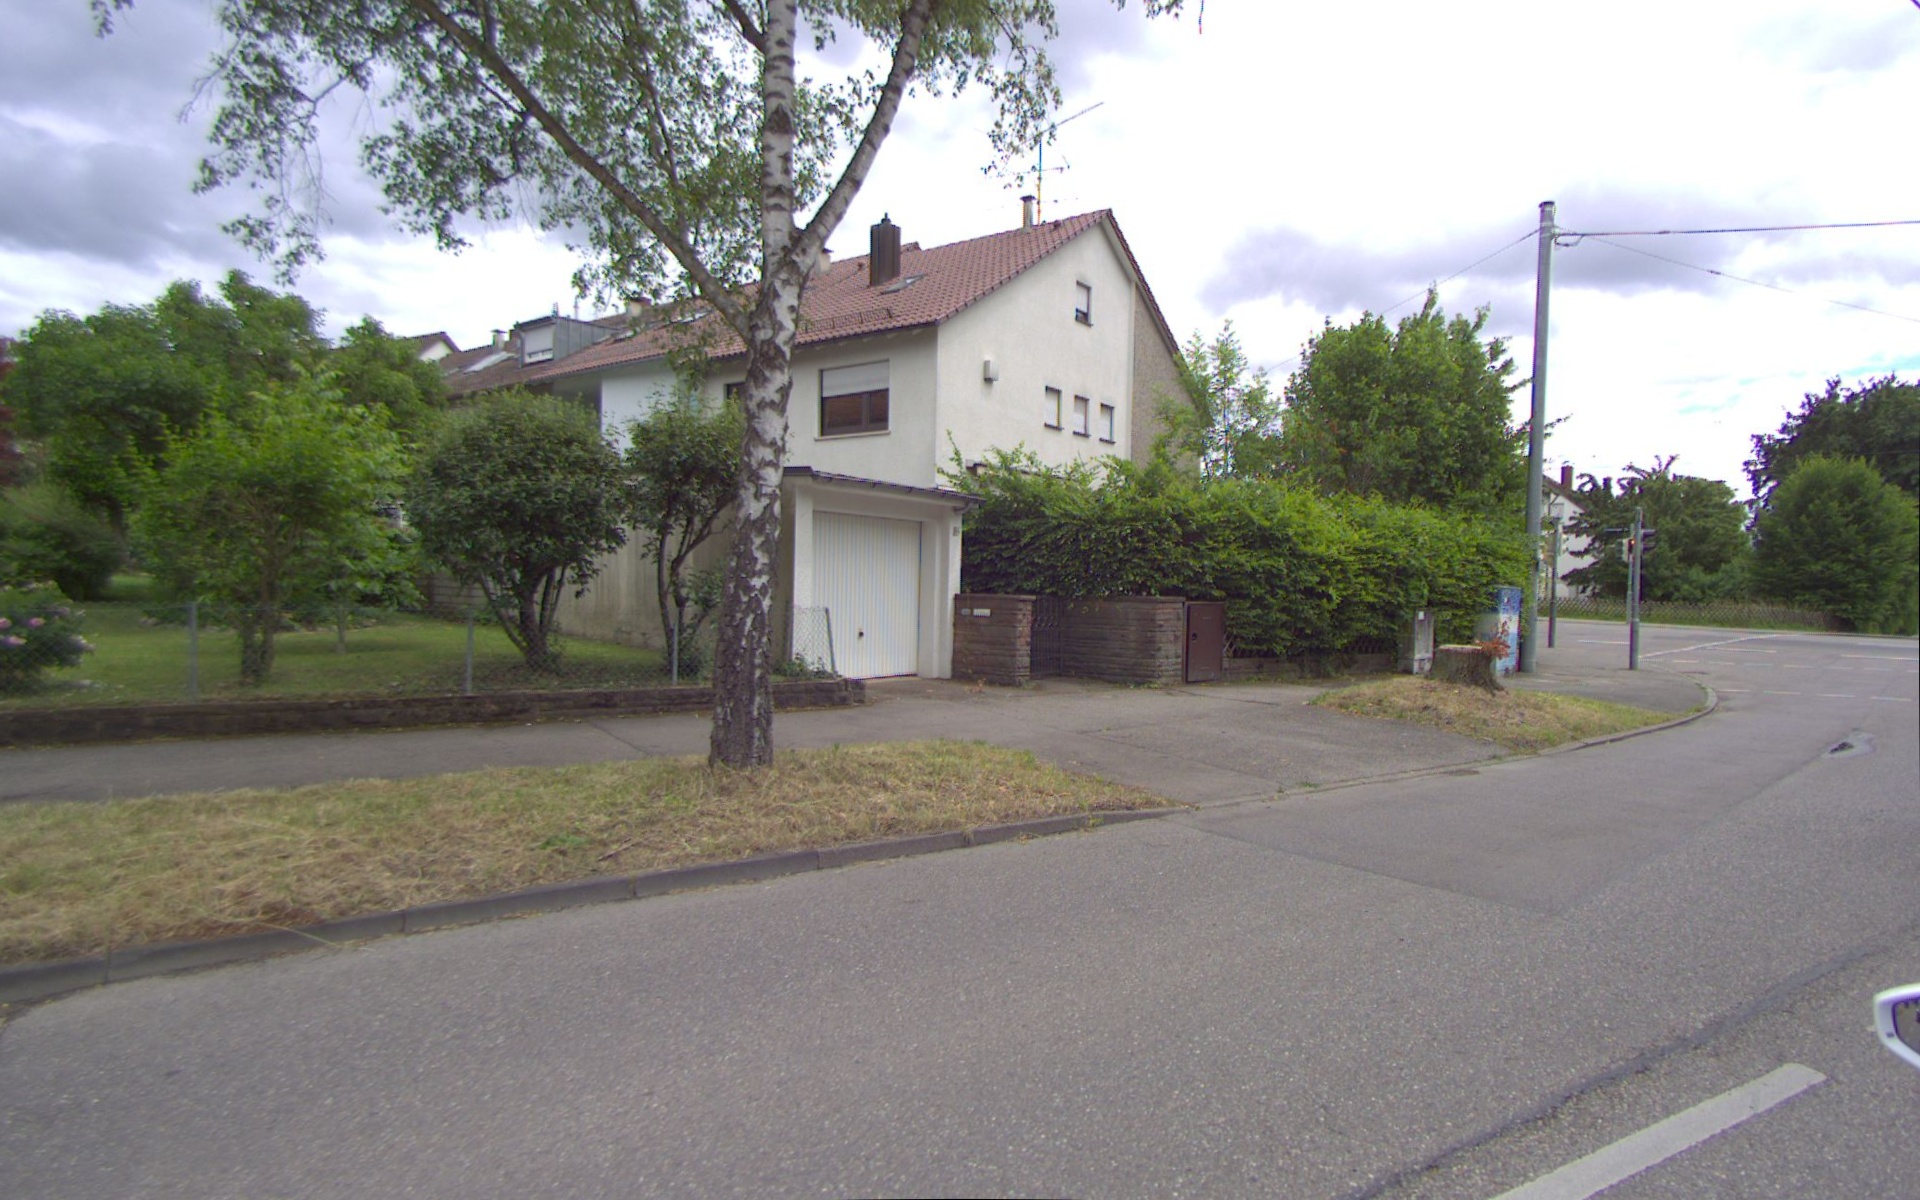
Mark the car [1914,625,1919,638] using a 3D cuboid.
[{"bbox_3d":[107.592,3.530,111.838,1.774,1.428,3.978,2,1,42],"label":"car"}]
